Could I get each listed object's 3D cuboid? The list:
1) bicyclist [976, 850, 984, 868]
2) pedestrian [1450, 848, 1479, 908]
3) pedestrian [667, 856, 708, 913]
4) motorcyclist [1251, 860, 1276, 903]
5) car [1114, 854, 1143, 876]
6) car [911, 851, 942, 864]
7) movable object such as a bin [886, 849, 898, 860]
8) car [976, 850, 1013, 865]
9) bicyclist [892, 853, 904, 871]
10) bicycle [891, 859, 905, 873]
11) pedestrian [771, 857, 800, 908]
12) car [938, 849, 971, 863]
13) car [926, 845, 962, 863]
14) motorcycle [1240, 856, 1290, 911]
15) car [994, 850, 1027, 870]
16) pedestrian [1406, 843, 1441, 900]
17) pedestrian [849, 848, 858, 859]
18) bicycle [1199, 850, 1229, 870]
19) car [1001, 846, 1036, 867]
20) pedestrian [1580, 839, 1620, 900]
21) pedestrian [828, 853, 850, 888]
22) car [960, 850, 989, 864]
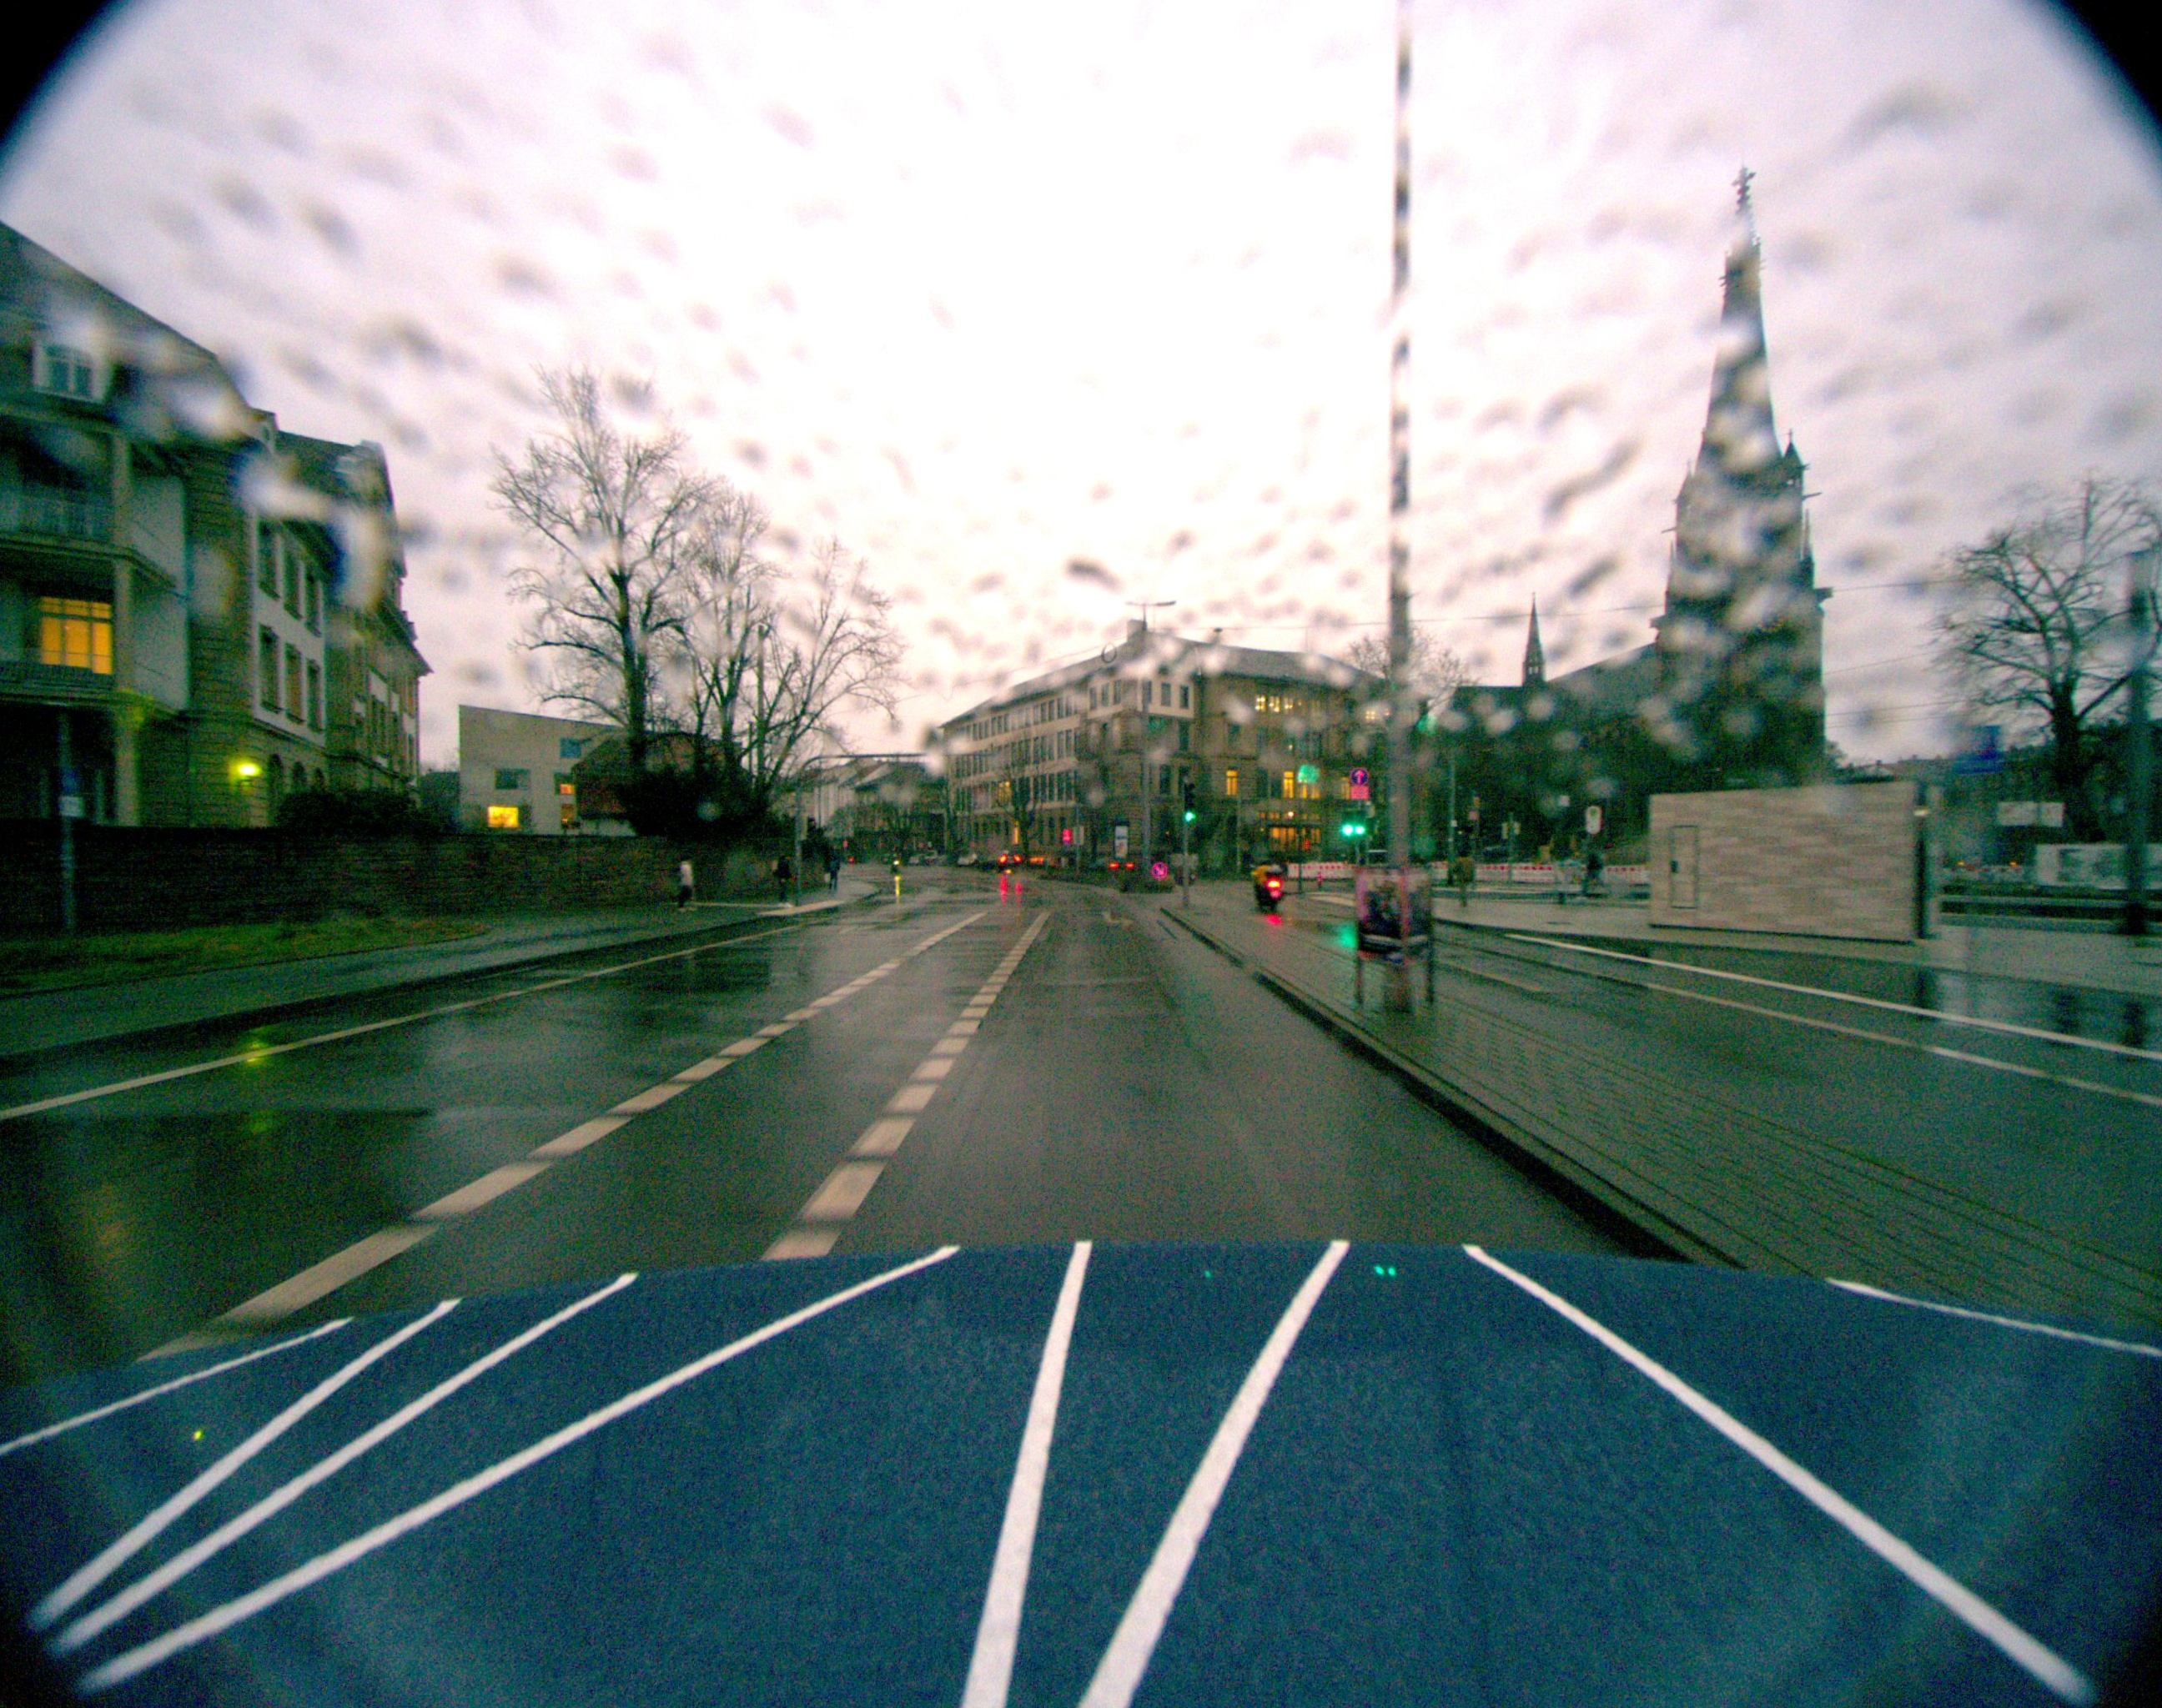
[{"bbox_3d":[-10.204,0.519,76.845,0.611,1.758,0.589,-1,3,10],"label":"bicyclist"},{"bbox_3d":[10.974,0.665,21.740,0.673,1.665,0.731,0,3,32],"label":"pedestrian"},{"bbox_3d":[-11.833,0.904,22.855,0.964,1.666,0.777,0,1,-38],"label":"pedestrian"},{"bbox_3d":[5.214,0.782,21.706,0.537,1.187,0.610,-2,3,0],"label":"motorcyclist"},{"bbox_3d":[3.258,0.724,52.451,1.751,1.370,4.366,1,0,1],"label":"car"},{"bbox_3d":[-20.495,0.467,101.165,1.771,1.582,4.191,-1,2,27],"label":"car"},{"bbox_3d":[-27.490,0.076,110.431,1.341,1.456,0.987,-1,3,18],"label":"movable object such as a bin"},{"bbox_3d":[-9.675,0.407,85.717,1.795,1.450,4.484,0,3,30],"label":"car"},{"bbox_3d":[-14.648,0.643,60.812,0.718,1.335,0.718,-3,3,-23],"label":"bicyclist"},{"bbox_3d":[-14.651,0.975,60.864,0.725,1.084,2.281,-2,0,-23],"label":"bicycle"},{"bbox_3d":[-9.943,0.958,25.556,0.792,1.666,0.729,1,1,-13],"label":"pedestrian"},{"bbox_3d":[-15.575,0.274,93.594,1.819,1.531,3.982,0,3,29],"label":"car"},{"bbox_3d":[-17.350,-0.019,96.279,1.961,2.042,4.629,0,3,29],"label":"car"},{"bbox_3d":[5.229,0.801,21.743,0.831,1.488,2.314,0,1,-1],"label":"motorcycle"},{"bbox_3d":[-6.146,0.528,65.525,1.761,1.652,4.522,1,0,-19],"label":"car"},{"bbox_3d":[14.746,0.729,32.753,0.996,2.357,1.063,-2,3,-4],"label":"pedestrian"},{"bbox_3d":[-35.798,-0.034,119.592,0.945,1.694,0.925,0,3,33],"label":"pedestrian"},{"bbox_3d":[11.366,0.500,64.976,2.424,1.679,0.714,-1,3,17],"label":"bicycle"},{"bbox_3d":[-6.576,0.218,80.190,1.908,2.022,4.809,-1,2,19],"label":"car"},{"bbox_3d":[15.854,0.444,23.211,0.605,1.803,0.823,-3,3,-28],"label":"pedestrian"},{"bbox_3d":[-11.706,0.802,36.777,0.807,1.675,1.156,1,0,-6],"label":"pedestrian"},{"bbox_3d":[-12.535,0.382,89.761,1.633,1.450,3.831,-1,2,23],"label":"car"}]
